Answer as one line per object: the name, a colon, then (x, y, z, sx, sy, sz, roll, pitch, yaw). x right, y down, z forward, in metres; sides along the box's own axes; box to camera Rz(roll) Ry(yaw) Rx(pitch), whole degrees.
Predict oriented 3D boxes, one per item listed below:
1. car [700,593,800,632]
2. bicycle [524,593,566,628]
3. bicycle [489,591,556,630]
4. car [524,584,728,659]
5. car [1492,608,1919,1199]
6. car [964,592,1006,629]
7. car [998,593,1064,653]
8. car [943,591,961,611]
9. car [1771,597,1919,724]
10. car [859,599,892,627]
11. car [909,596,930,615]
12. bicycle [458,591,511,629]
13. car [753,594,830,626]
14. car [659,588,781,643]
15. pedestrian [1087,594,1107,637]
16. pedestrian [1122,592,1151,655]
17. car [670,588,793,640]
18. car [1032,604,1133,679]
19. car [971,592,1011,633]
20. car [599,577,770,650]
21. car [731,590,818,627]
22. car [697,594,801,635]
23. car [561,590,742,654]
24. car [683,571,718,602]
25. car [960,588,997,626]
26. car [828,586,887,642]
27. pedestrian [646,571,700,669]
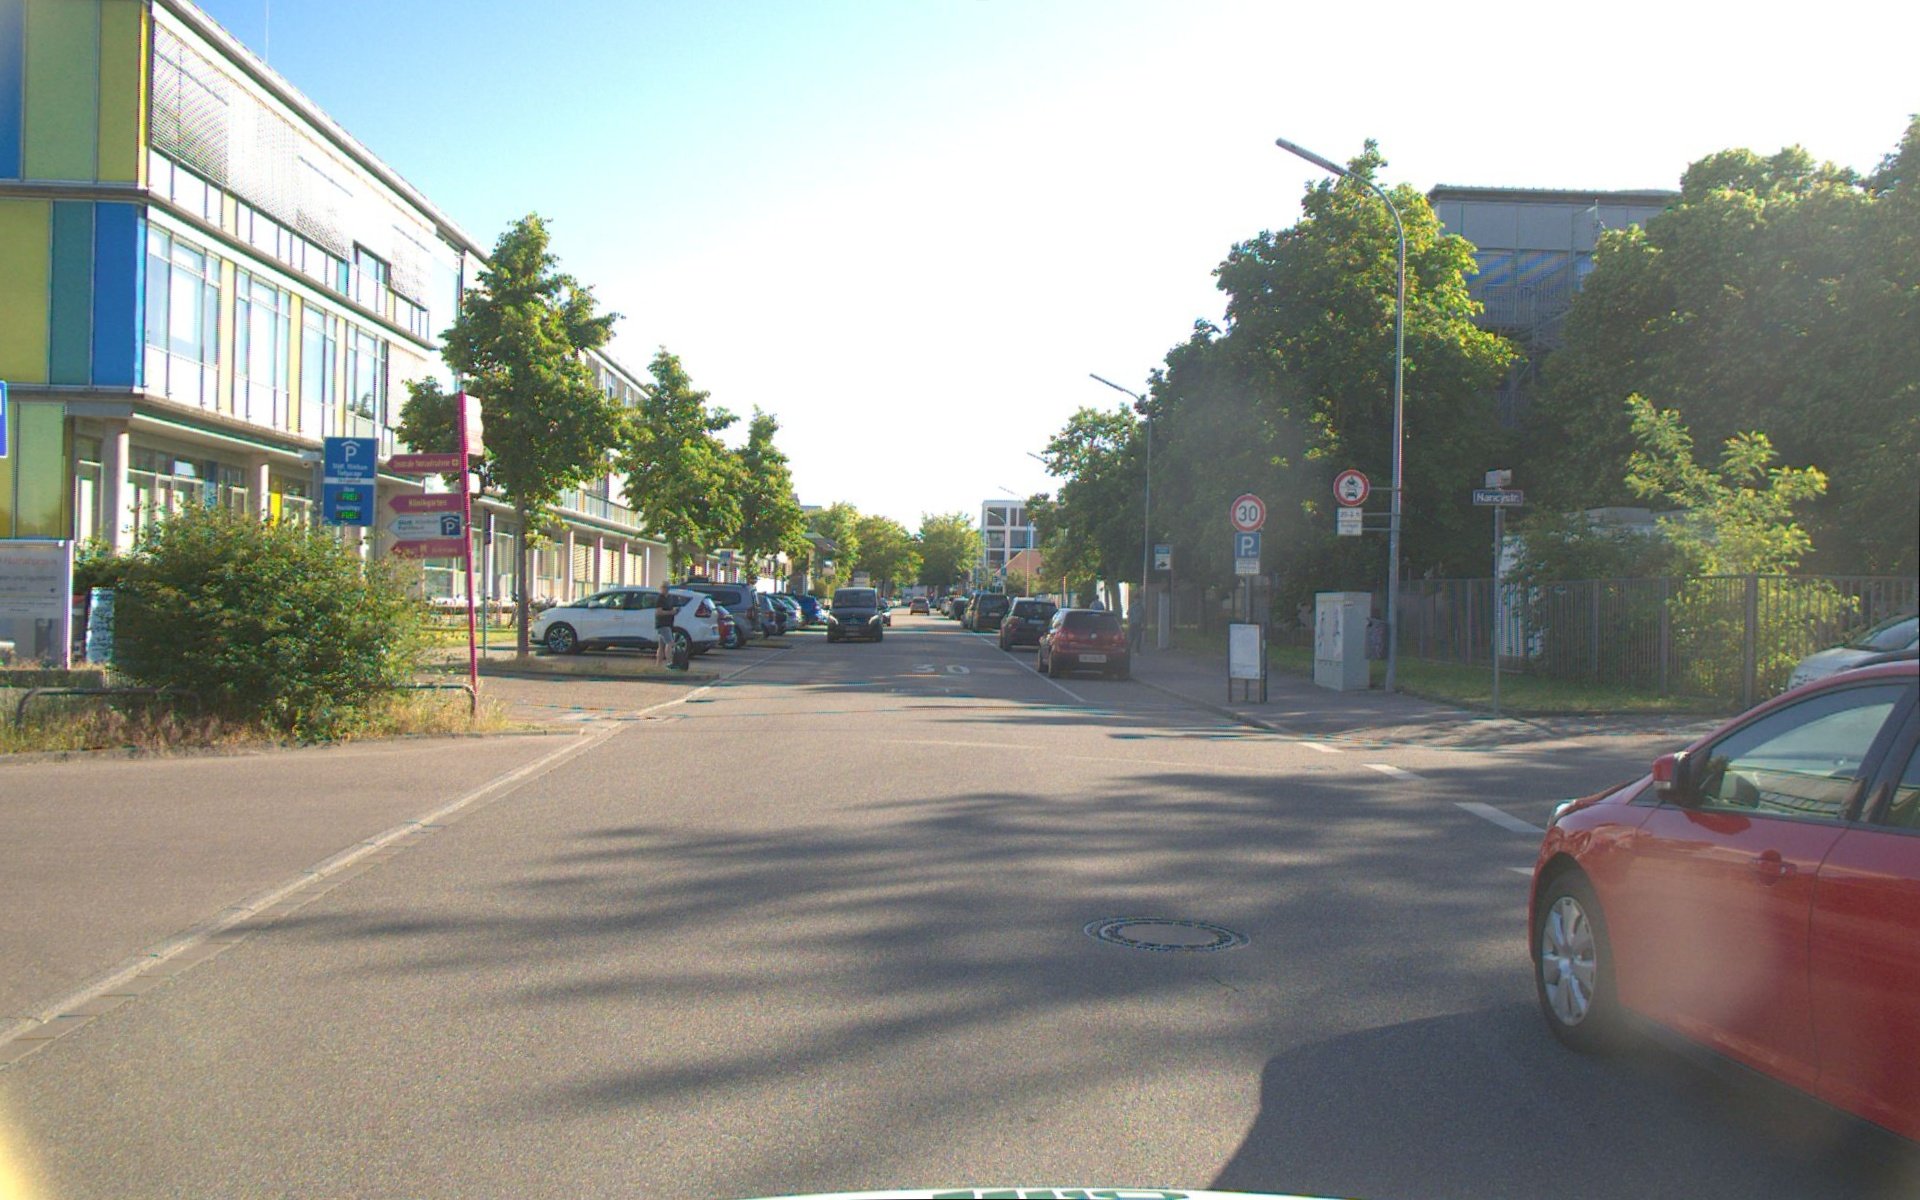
car: (-9.012, 0.531, 71.264, 4.132, 1.487, 1.870, 3, 0, -6)
bicycle: (-14.273, 0.345, 56.941, 0.874, 1.131, 1.890, 2, 1, 2)
bicycle: (-14.050, 0.354, 53.160, 0.851, 1.174, 2.373, 2, -1, 19)
car: (-8.073, 0.516, 40.264, 4.516, 1.680, 1.868, 1, 0, 1)
car: (3.133, 0.842, 4.418, 1.782, 1.526, 4.450, 3, 0, -2)
car: (1.244, 0.524, 83.968, 1.953, 1.855, 4.197, 0, 0, -2)
car: (2.215, 0.703, 52.791, 1.775, 1.695, 4.592, 2, 1, -1)
car: (-0.659, 0.088, 138.798, 1.407, 1.588, 3.041, 1, 0, -2)
car: (12.312, 0.751, 20.767, 3.474, 1.512, 1.600, 1, 0, -1)
car: (-4.525, 0.675, 88.614, 1.669, 1.476, 4.085, 0, 0, -2)
car: (-3.511, 0.500, 142.263, 1.708, 1.570, 3.998, 2, 0, -2)
bicycle: (-15.417, 0.335, 53.696, 0.851, 1.174, 1.994, 3, -1, 8)
car: (-8.781, 0.498, 86.239, 3.909, 1.579, 1.998, 1, 0, -5)
car: (-8.019, 0.519, 55.546, 3.910, 1.635, 1.870, 3, 0, -6)
pedestrian: (5.486, 0.597, 66.121, 0.684, 1.690, 0.751, -2, 0, -2)
pedestrian: (5.087, 0.676, 47.645, 0.703, 1.789, 0.884, -1, 0, -1)
car: (-8.036, 0.481, 58.501, 4.164, 1.640, 2.046, 3, 0, -6)
car: (2.653, 0.868, 36.761, 1.685, 1.480, 4.650, 2, 0, -2)
car: (1.437, 0.565, 77.732, 1.698, 1.862, 3.904, 1, 0, -1)
car: (-8.026, 0.387, 48.550, 4.647, 1.897, 1.827, 3, 0, -2)
car: (-9.089, 0.420, 81.265, 4.132, 1.631, 1.870, 3, 0, -6)
car: (-8.177, 0.564, 64.354, 3.910, 1.382, 1.741, 3, 0, -6)
car: (-7.955, 0.562, 42.903, 4.344, 1.527, 1.827, 1, 0, -2)
car: (-18.765, -0.945, 119.724, 1.953, 2.049, 3.998, 1, -1, -2)
car: (1.010, 0.353, 90.209, 1.837, 2.013, 3.998, 0, 0, -2)
car: (-3.599, 0.473, 58.959, 1.916, 1.900, 5.253, 1, 0, -2)
pedestrian: (-5.701, 0.393, 32.939, 0.840, 1.874, 0.825, 3, 0, 0)
